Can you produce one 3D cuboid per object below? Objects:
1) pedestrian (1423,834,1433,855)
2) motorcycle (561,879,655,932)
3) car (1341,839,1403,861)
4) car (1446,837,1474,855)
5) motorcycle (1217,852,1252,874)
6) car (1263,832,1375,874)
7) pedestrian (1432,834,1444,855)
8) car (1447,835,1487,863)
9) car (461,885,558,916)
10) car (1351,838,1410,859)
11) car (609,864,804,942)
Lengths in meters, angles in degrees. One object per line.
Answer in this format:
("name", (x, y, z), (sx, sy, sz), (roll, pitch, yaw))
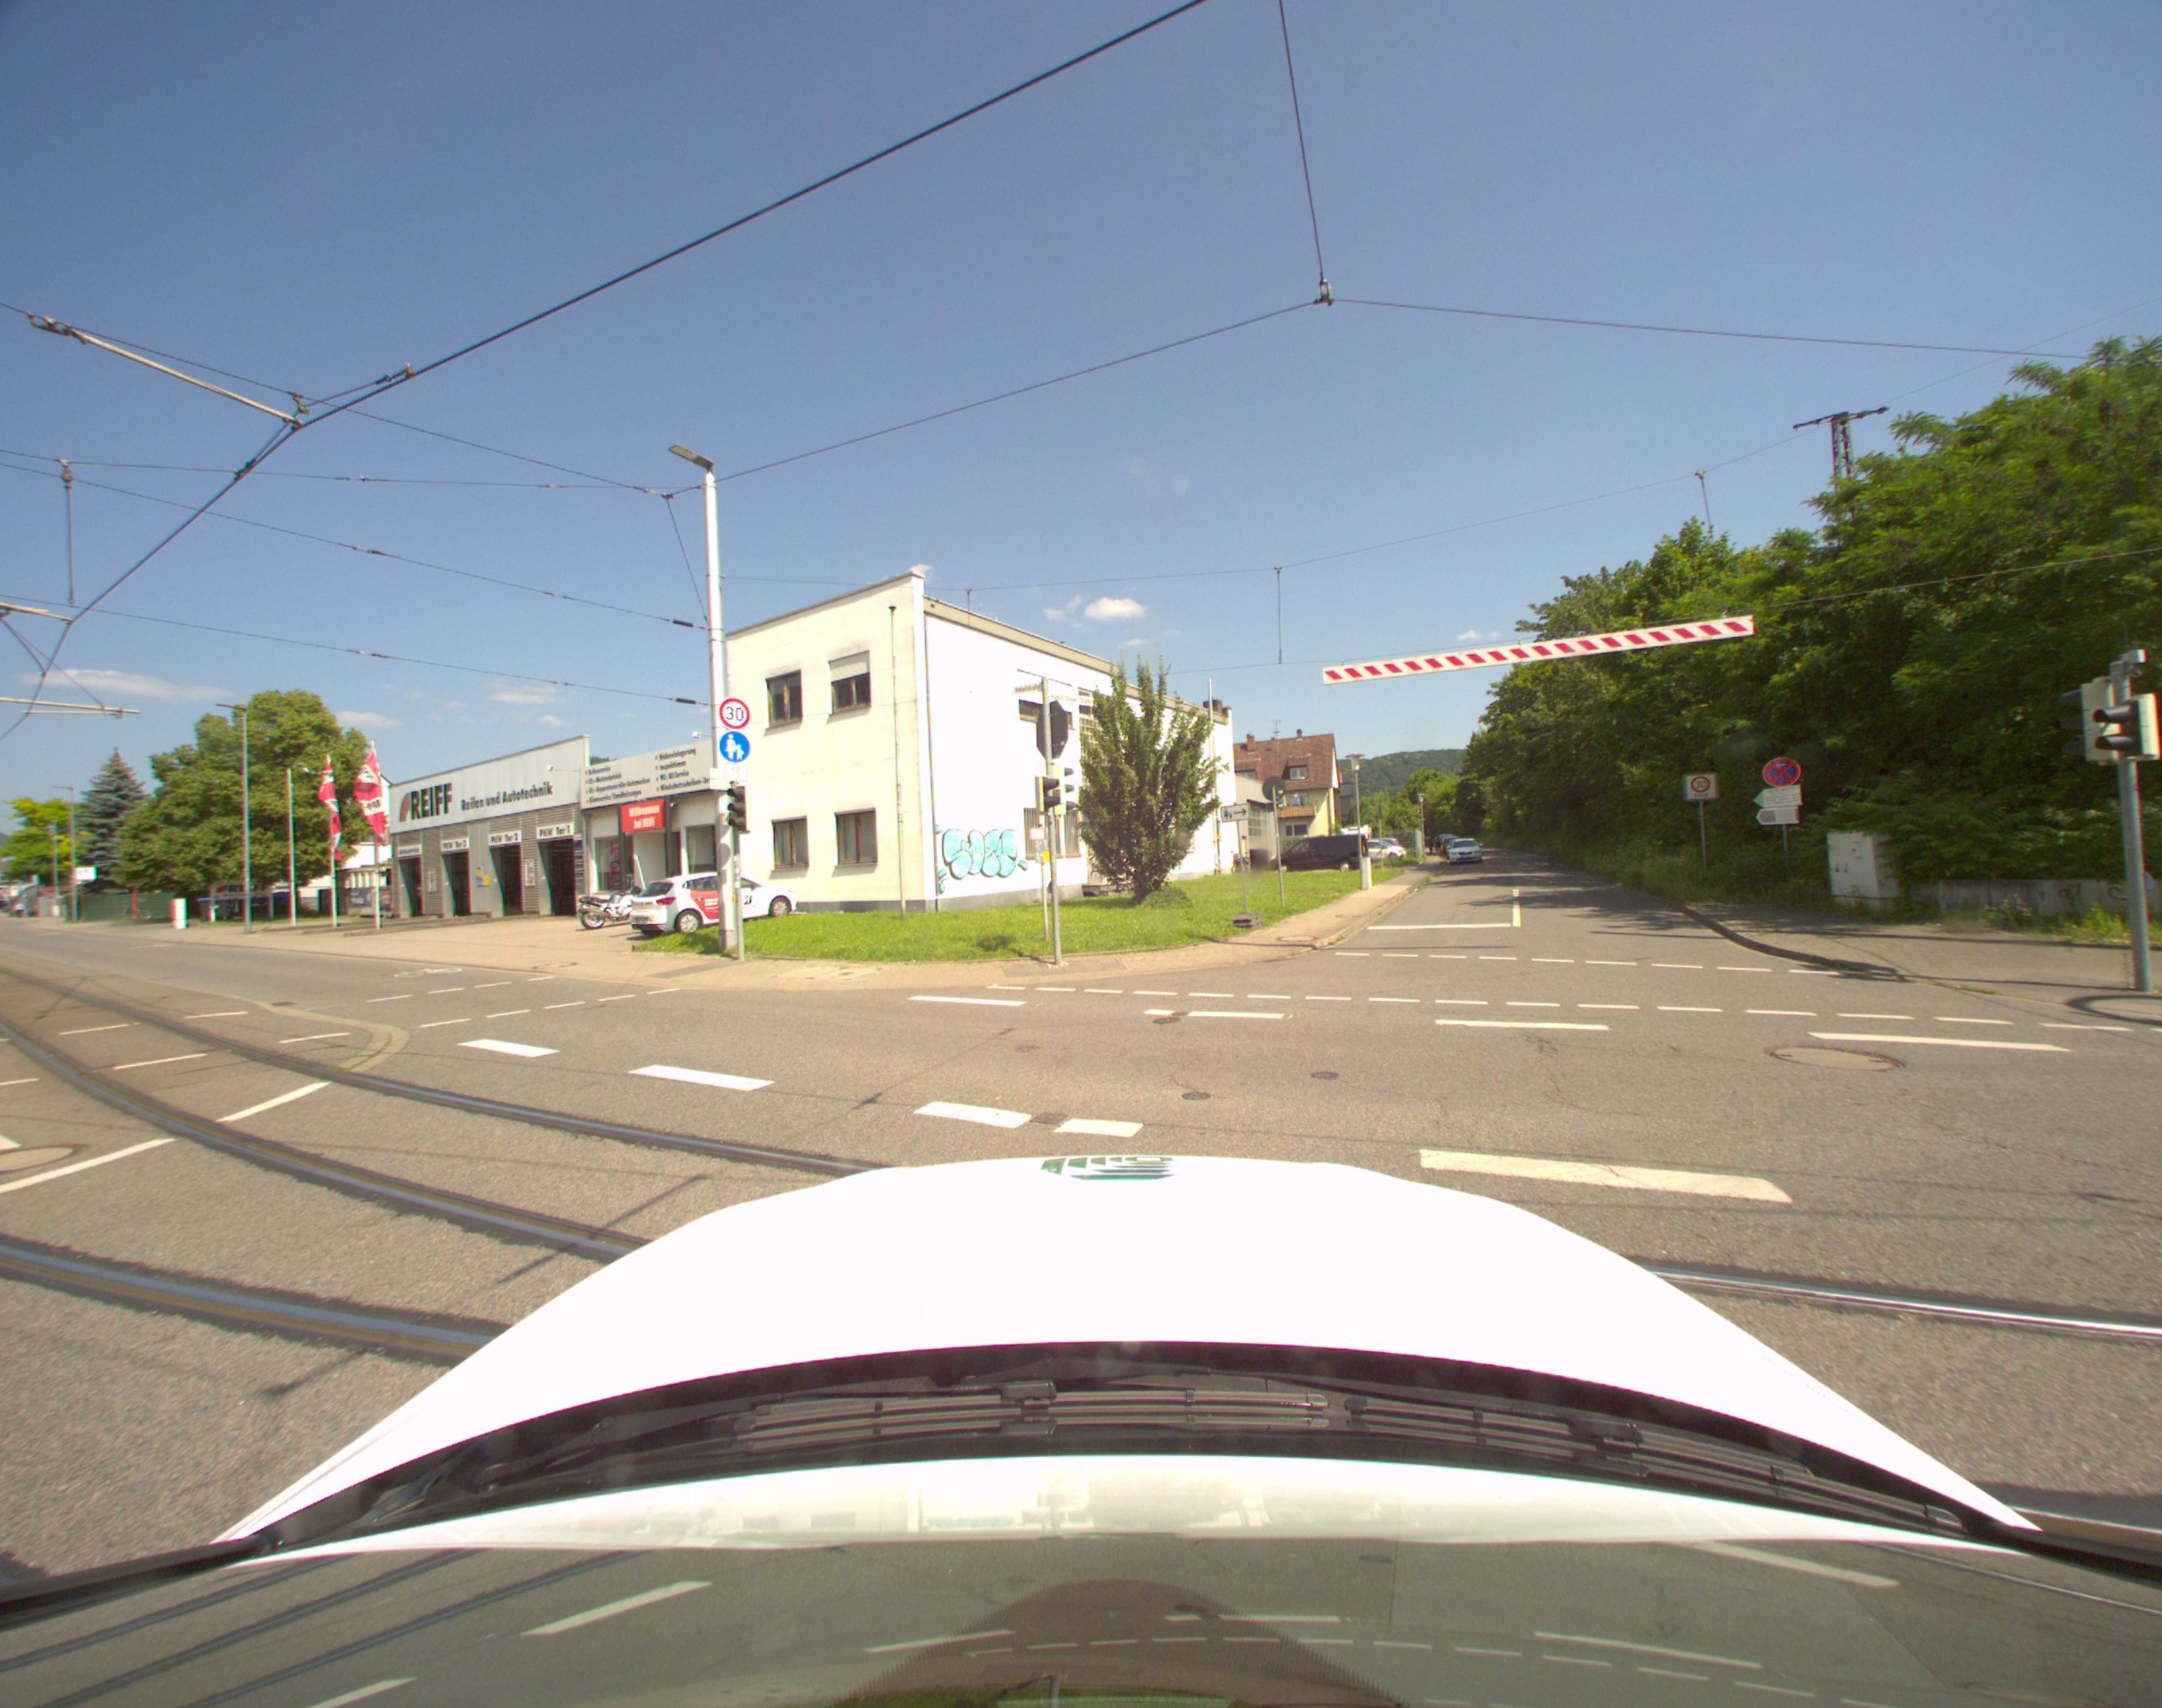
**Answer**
("pedestrian", (29.308, -0.793, 68.774), (0.648, 1.763, 0.808), (-1, -2, 25))
("motorcycle", (-13.930, 1.497, 24.062), (0.722, 1.308, 2.205), (-4, 2, 32))
("car", (19.446, -0.277, 54.445), (3.685, 1.372, 1.614), (-1, -1, 27))
("car", (31.978, -0.653, 68.697), (1.893, 1.399, 3.755), (-2, 0, 27))
("motorcycle", (7.356, 0.429, 38.821), (0.843, 1.032, 2.583), (-1, -1, 29))
("car", (12.296, -0.030, 42.127), (5.200, 1.816, 2.012), (-4, -1, 25))
("pedestrian", (30.030, -0.810, 68.418), (0.868, 1.763, 0.735), (-1, -2, 25))
("car", (23.141, -0.314, 48.762), (2.067, 1.510, 4.566), (-2, 0, 26))
("car", (-30.296, 2.454, 43.263), (1.703, 1.376, 3.797), (-3, -1, 29))
("car", (20.884, -0.330, 56.766), (3.685, 1.371, 1.614), (-1, -1, 27))
("car", (-9.383, 1.176, 20.721), (1.865, 1.462, 4.027), (-3, 2, 32))
